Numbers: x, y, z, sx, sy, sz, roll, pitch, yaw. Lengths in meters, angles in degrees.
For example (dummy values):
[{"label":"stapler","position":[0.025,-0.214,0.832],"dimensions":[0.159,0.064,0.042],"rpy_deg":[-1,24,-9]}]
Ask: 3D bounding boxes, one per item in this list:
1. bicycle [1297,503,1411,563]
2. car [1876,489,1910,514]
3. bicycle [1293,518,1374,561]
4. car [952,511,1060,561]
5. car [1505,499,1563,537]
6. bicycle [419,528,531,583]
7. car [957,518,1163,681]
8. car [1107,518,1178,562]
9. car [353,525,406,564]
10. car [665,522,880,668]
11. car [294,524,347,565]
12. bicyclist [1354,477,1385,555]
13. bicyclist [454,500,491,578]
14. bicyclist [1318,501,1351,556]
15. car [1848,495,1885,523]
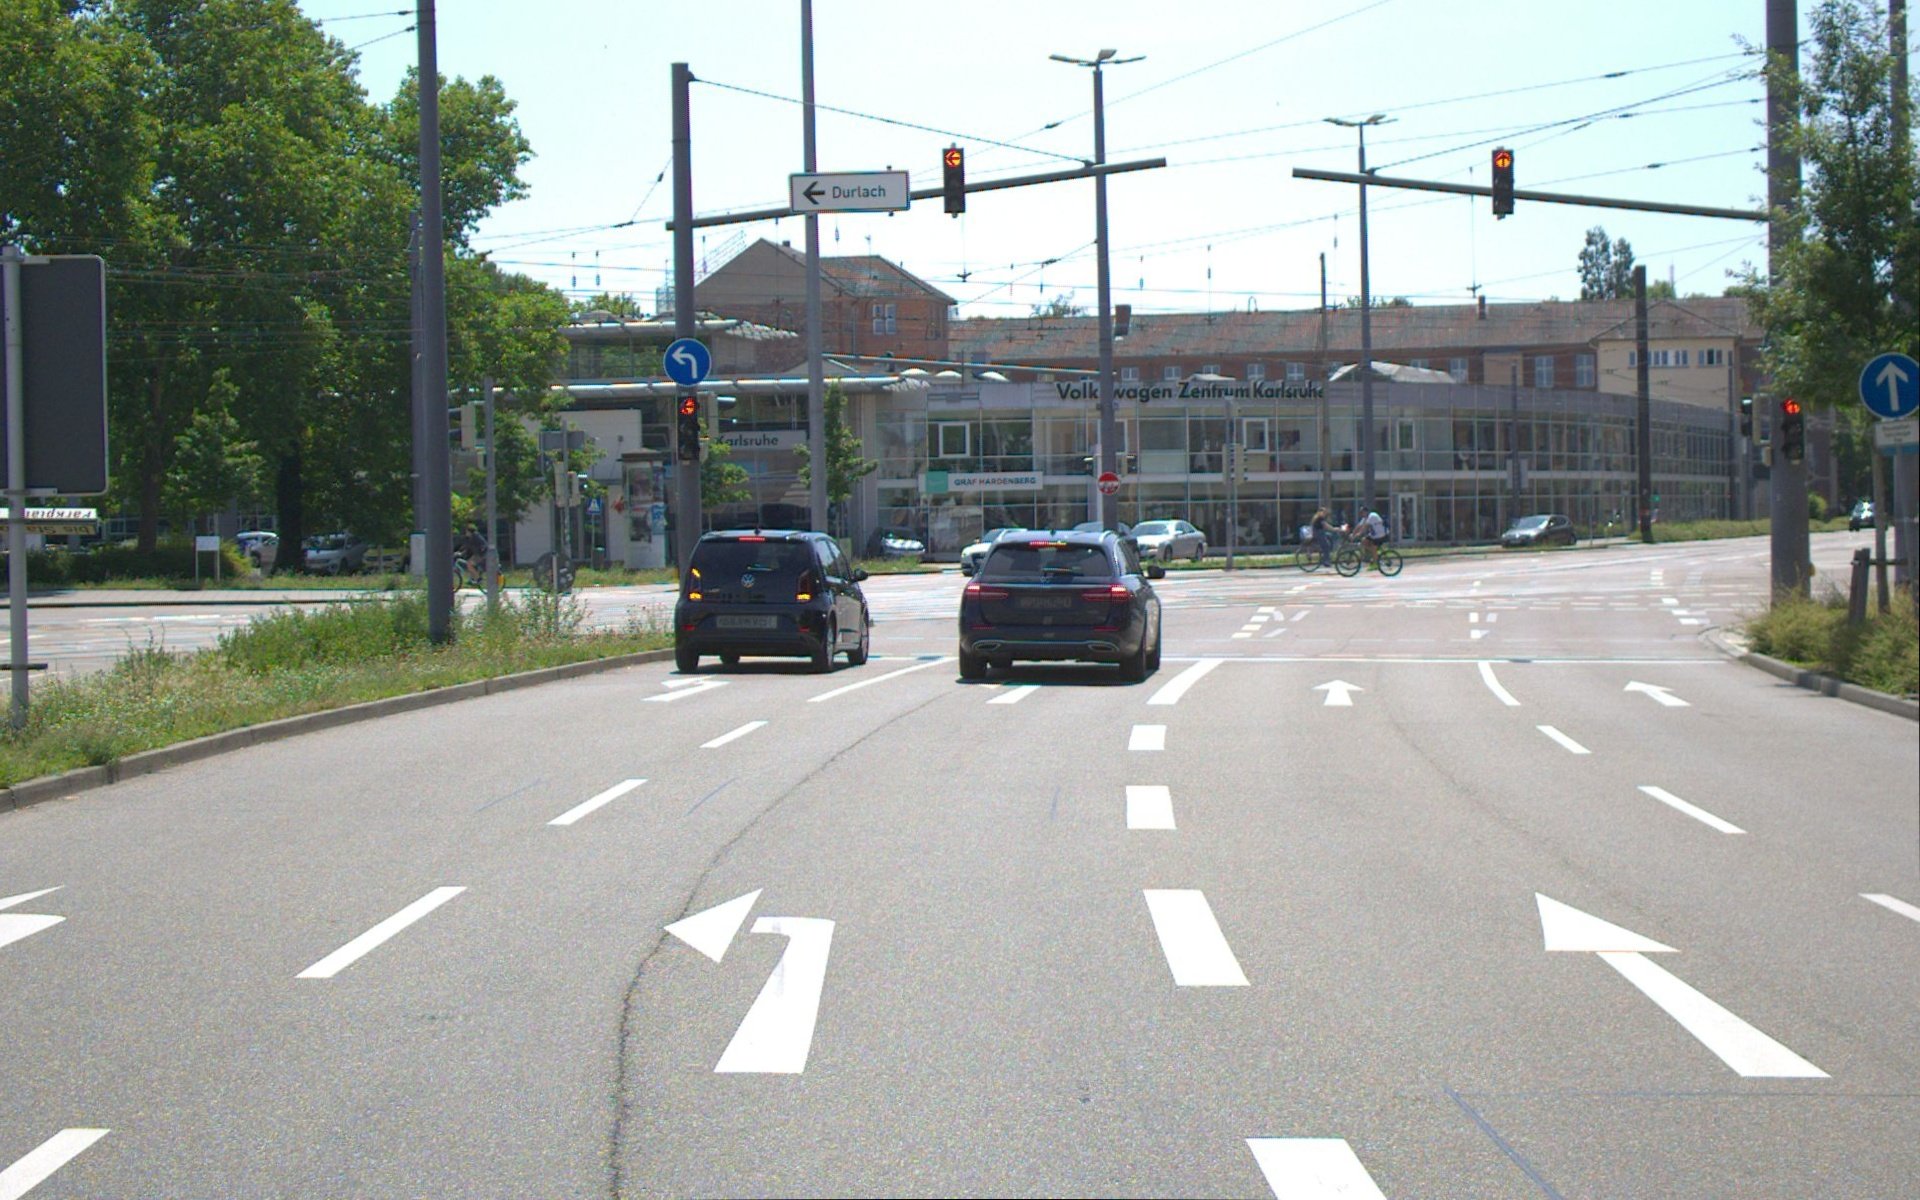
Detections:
[{"label":"bicycle","position":[9.848,-1.678,85.937],"dimensions":[2.826,1.458,0.634],"rpy_deg":[0,3,5]},{"label":"car","position":[59.303,-6.269,218.507],"dimensions":[1.586,1.523,3.715],"rpy_deg":[0,3,7]},{"label":"bicycle","position":[10.159,-1.648,93.467],"dimensions":[2.160,1.103,0.457],"rpy_deg":[-1,3,-10]},{"label":"car","position":[1.358,-1.868,99.862],"dimensions":[1.621,1.385,4.119],"rpy_deg":[0,1,24]},{"label":"car","position":[23.739,-3.404,142.065],"dimensions":[1.572,1.422,3.609],"rpy_deg":[1,4,23]},{"label":"bicycle","position":[-12.414,-1.142,88.038],"dimensions":[2.774,1.380,0.671],"rpy_deg":[0,3,0]},{"label":"car","position":[1.093,-0.054,35.334],"dimensions":[1.717,1.551,4.586],"rpy_deg":[-1,1,6]},{"label":"car","position":[5.950,-1.964,111.709],"dimensions":[1.433,1.281,3.259],"rpy_deg":[1,4,19]},{"label":"car","position":[-23.636,-2.273,140.044],"dimensions":[1.510,1.413,3.421],"rpy_deg":[0,3,1]},{"label":"car","position":[-1.938,-0.096,36.704],"dimensions":[1.621,1.458,3.999],"rpy_deg":[0,1,7]},{"label":"car","position":[-26.177,-2.281,140.842],"dimensions":[1.425,1.503,3.438],"rpy_deg":[0,3,1]},{"label":"bicyclist","position":[10.224,-2.101,85.874],"dimensions":[0.763,1.931,0.660],"rpy_deg":[0,3,5]},{"label":"bicyclist","position":[-12.478,-1.571,88.012],"dimensions":[0.846,1.958,0.626],"rpy_deg":[0,3,0]},{"label":"bicyclist","position":[10.191,-1.951,93.469],"dimensions":[0.731,1.474,0.656],"rpy_deg":[-1,3,-11]},{"label":"car","position":[52.038,-5.235,197.373],"dimensions":[1.531,1.454,3.552],"rpy_deg":[0,3,7]}]
